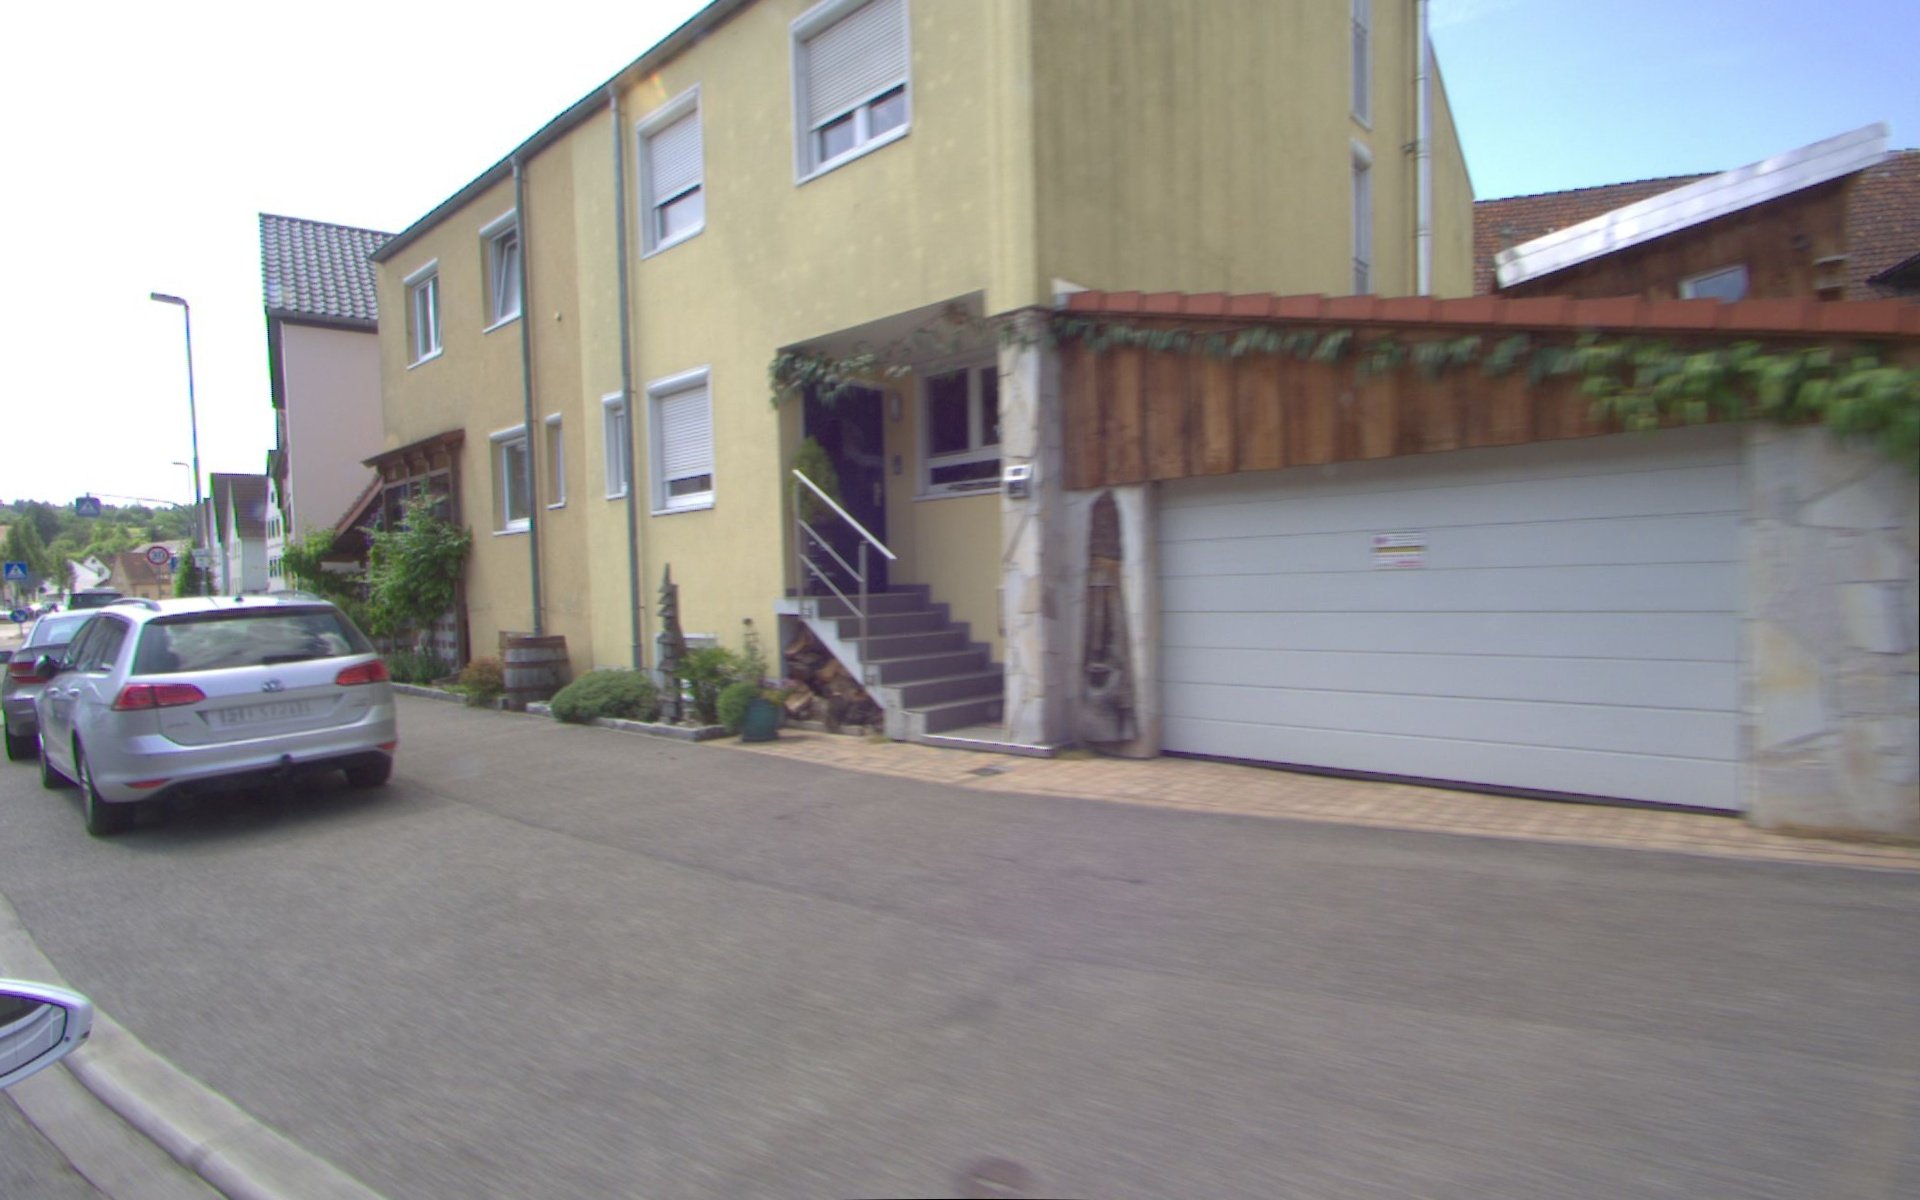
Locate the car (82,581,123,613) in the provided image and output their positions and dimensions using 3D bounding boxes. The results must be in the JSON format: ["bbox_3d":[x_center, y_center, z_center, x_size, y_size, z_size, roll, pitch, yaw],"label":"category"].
[{"bbox_3d":[-59.217,-0.213,69.186,1.977,2.040,3.969,-1,-1,-39],"label":"car"}]

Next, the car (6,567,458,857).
[{"bbox_3d":[-5.775,0.628,7.726,4.287,1.551,1.874,-1,4,42],"label":"car"}]

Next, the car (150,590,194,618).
[{"bbox_3d":[-46.752,0.251,59.423,1.977,1.527,3.969,-1,-1,-39],"label":"car"}]

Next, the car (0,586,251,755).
[{"bbox_3d":[-9.509,0.694,11.129,4.378,1.419,1.759,-2,3,44],"label":"car"}]

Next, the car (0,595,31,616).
[{"bbox_3d":[-75.548,0.450,80.019,1.653,1.617,3.969,-1,-1,-39],"label":"car"}]

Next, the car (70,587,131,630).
[{"bbox_3d":[-38.782,0.396,45.237,1.977,1.839,3.967,-1,-1,-40],"label":"car"}]

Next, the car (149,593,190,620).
[{"bbox_3d":[-50.328,0.424,63.751,1.977,1.527,3.969,-1,-1,-39],"label":"car"}]
